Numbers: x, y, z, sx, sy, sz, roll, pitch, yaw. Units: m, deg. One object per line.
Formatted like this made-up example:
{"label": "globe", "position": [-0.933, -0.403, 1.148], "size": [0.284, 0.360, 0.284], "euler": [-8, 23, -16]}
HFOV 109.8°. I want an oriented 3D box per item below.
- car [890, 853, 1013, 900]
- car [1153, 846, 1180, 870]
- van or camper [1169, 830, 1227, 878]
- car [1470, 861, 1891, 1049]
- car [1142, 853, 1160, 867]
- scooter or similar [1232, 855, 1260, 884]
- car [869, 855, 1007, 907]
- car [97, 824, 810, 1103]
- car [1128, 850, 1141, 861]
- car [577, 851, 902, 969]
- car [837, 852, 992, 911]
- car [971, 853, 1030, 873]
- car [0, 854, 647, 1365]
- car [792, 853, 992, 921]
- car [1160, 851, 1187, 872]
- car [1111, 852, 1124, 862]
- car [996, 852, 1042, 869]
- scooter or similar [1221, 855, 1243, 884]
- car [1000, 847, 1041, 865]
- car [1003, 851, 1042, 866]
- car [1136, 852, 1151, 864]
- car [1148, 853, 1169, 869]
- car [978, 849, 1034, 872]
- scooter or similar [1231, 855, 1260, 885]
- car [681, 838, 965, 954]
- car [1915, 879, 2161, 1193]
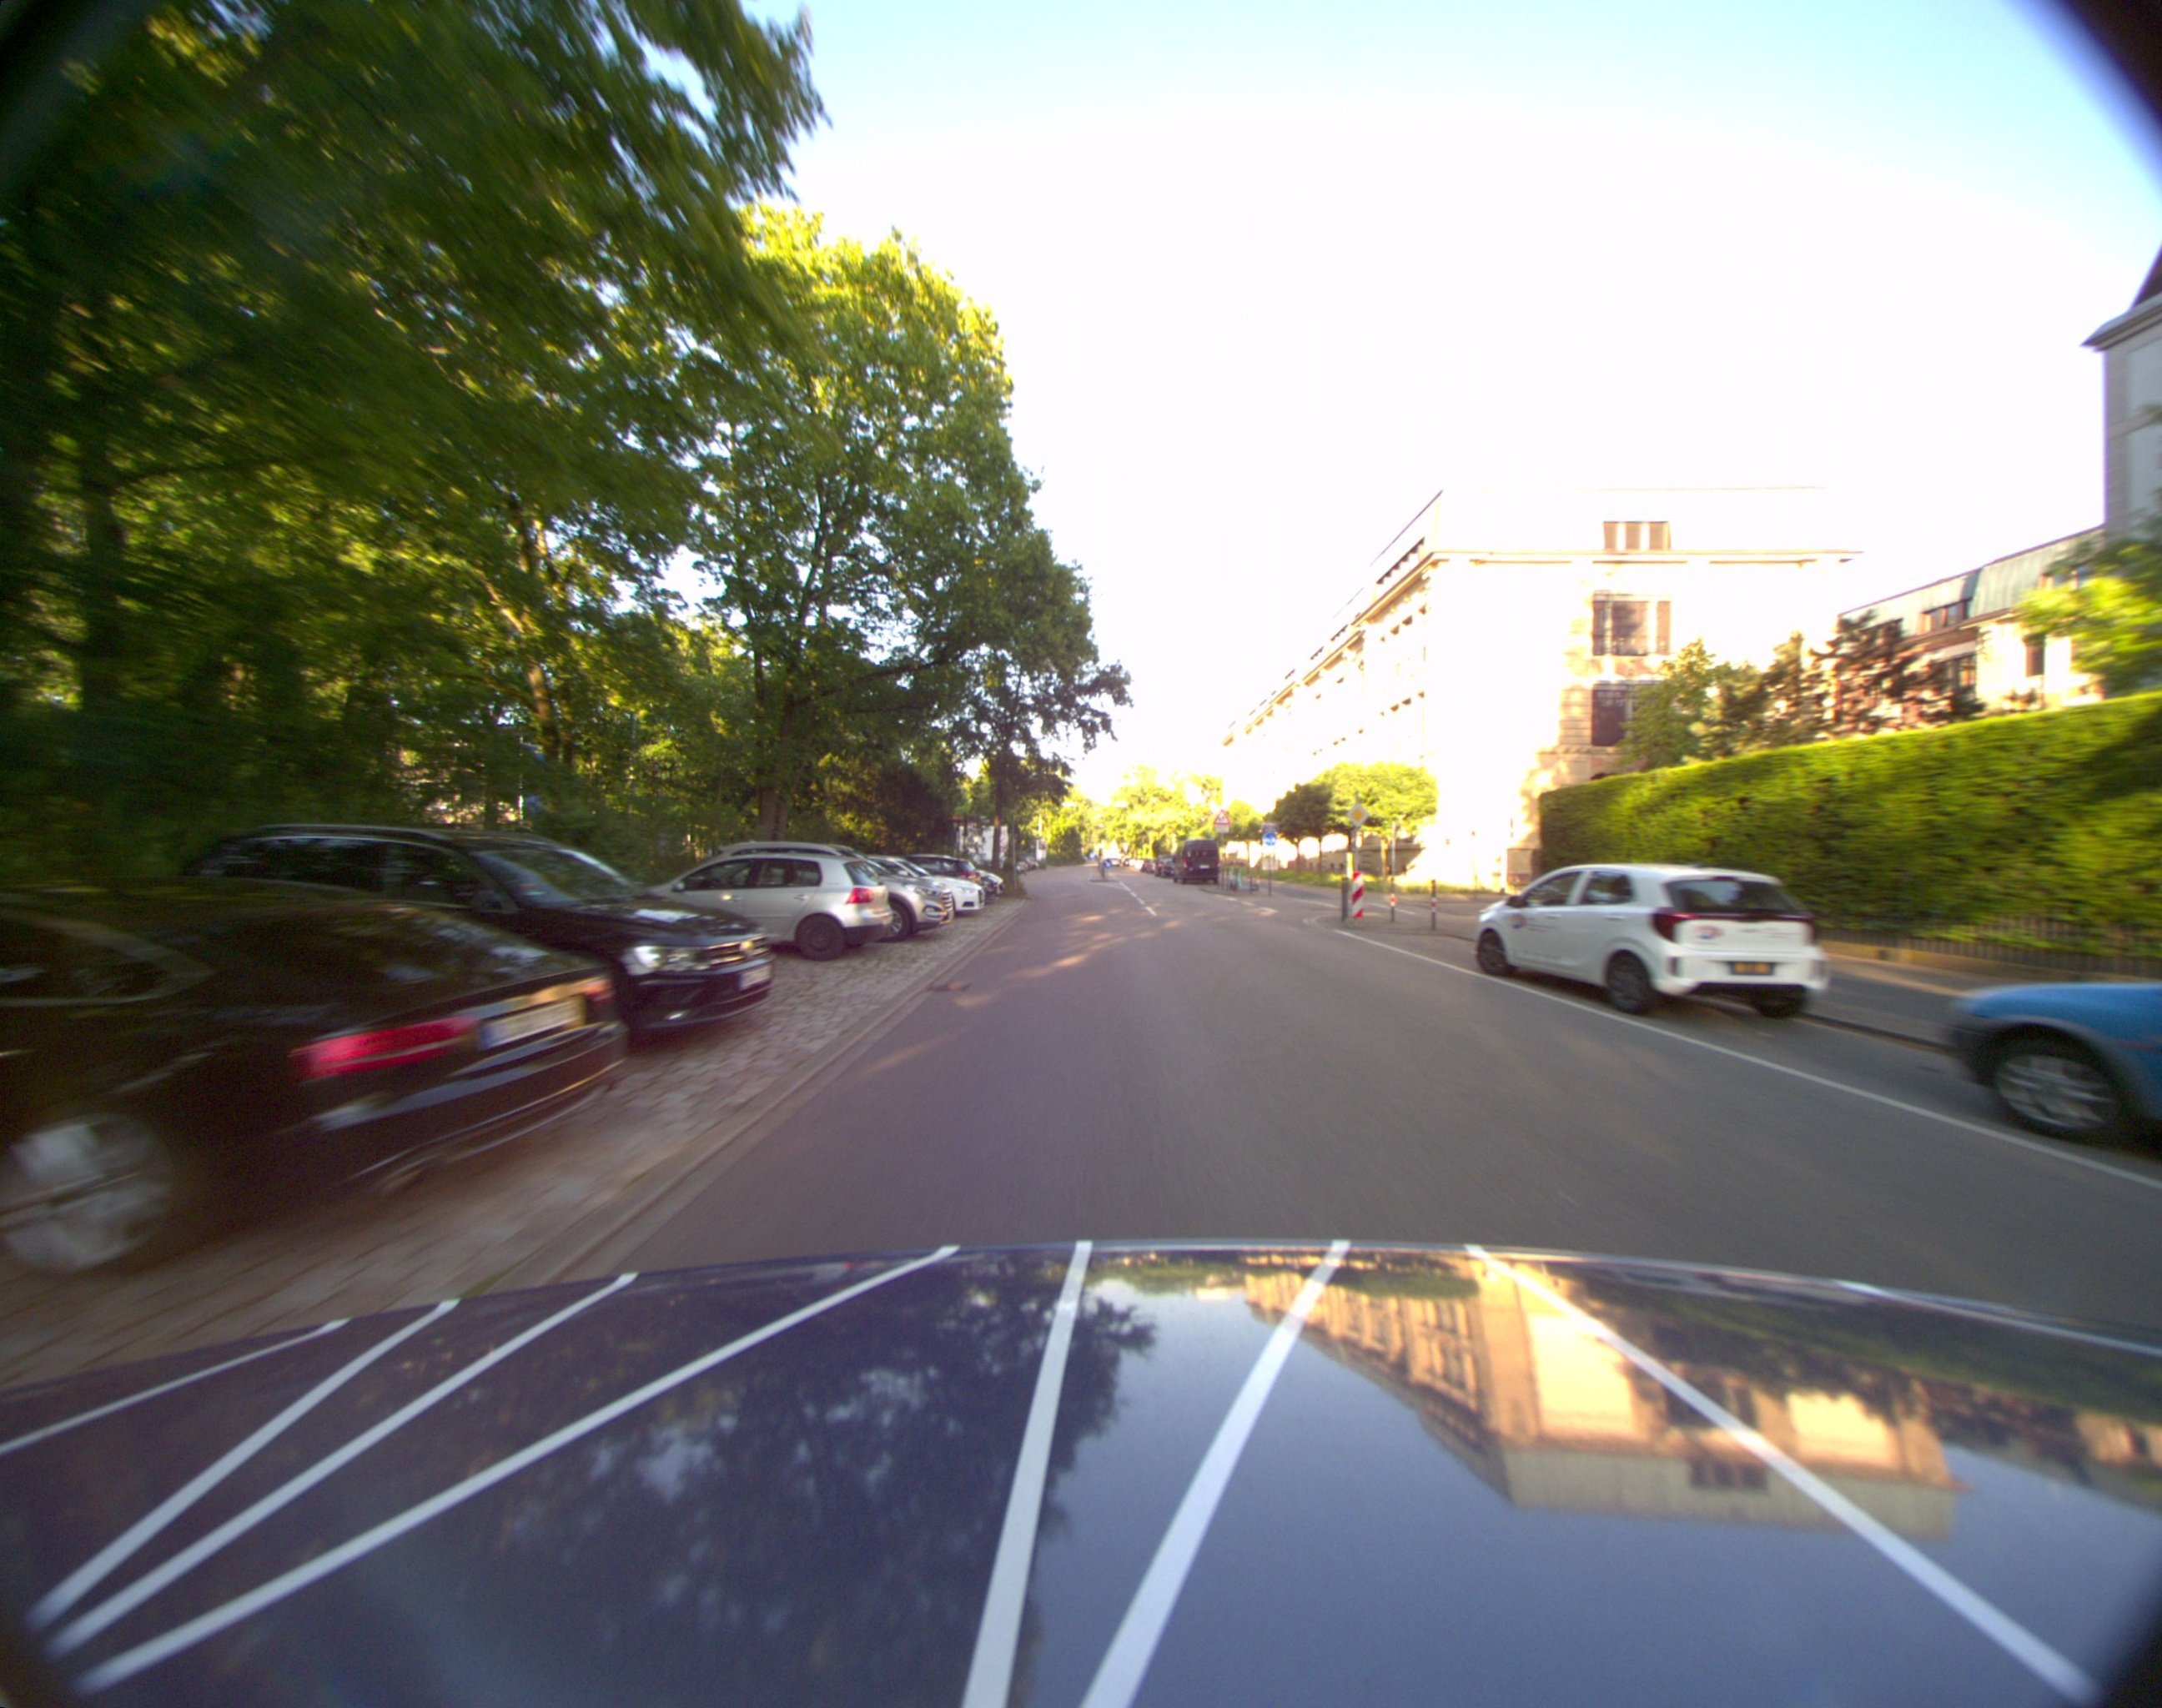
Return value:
{"label": "car", "position": [-4.480, 0.764, 26.623], "size": [3.997, 1.545, 1.725], "euler": [1, 1, 1]}
{"label": "car", "position": [7.115, 0.327, 63.404], "size": [1.782, 1.855, 4.332], "euler": [-2, 0, 1]}
{"label": "van or camper", "position": [6.668, -0.049, 44.133], "size": [2.235, 2.530, 7.079], "euler": [-1, 1, 0]}
{"label": "car", "position": [6.119, 0.892, 8.404], "size": [1.618, 1.506, 3.711], "euler": [2, 1, -1]}
{"label": "car", "position": [7.461, 0.630, 81.021], "size": [1.622, 1.487, 4.377], "euler": [0, 0, 1]}
{"label": "scooter or similar", "position": [7.297, 0.678, 33.605], "size": [1.346, 1.267, 0.431], "euler": [-1, 1, -34]}
{"label": "car", "position": [-4.459, 0.835, 24.038], "size": [3.997, 1.545, 1.726], "euler": [1, -1, 1]}
{"label": "car", "position": [-4.711, 0.751, 6.218], "size": [4.255, 1.779, 1.883], "euler": [2, 1, 1]}
{"label": "car", "position": [7.993, 0.234, 114.418], "size": [1.806, 1.502, 4.862], "euler": [-1, 1, 2]}
{"label": "car", "position": [-4.857, 0.762, 11.200], "size": [3.997, 1.545, 1.725], "euler": [1, 1, 1]}
{"label": "car", "position": [-4.644, 0.763, 21.602], "size": [3.997, 1.545, 1.752], "euler": [1, -1, 1]}
{"label": "car", "position": [-7.126, 0.787, 67.358], "size": [4.939, 1.545, 1.916], "euler": [2, 1, 0]}
{"label": "car", "position": [-4.442, 0.838, 3.383], "size": [3.997, 1.545, 1.725], "euler": [2, 1, 1]}
{"label": "car", "position": [-4.595, 0.786, 18.972], "size": [4.495, 1.545, 1.857], "euler": [1, 1, 1]}
{"label": "car", "position": [6.943, 0.548, 57.488], "size": [1.700, 1.462, 3.855], "euler": [-2, 0, 3]}
{"label": "car", "position": [5.537, 0.497, 115.922], "size": [1.745, 1.450, 4.623], "euler": [1, 1, 0]}
{"label": "car", "position": [-6.266, 0.697, 77.144], "size": [4.374, 1.528, 1.920], "euler": [2, 1, 0]}
{"label": "scooter or similar", "position": [6.740, 0.674, 33.981], "size": [0.430, 1.267, 1.347], "euler": [1, 1, 36]}
{"label": "car", "position": [-6.745, 0.238, 85.168], "size": [4.374, 1.770, 1.920], "euler": [2, 1, 0]}
{"label": "car", "position": [-6.753, 0.499, 87.905], "size": [4.374, 1.545, 1.727], "euler": [2, 1, 0]}
{"label": "car", "position": [7.698, 0.507, 93.801], "size": [1.622, 1.487, 3.924], "euler": [0, 0, 1]}
{"label": "car", "position": [7.493, 0.626, 74.056], "size": [1.723, 1.487, 4.377], "euler": [0, 0, 2]}
{"label": "car", "position": [-6.889, 0.587, 70.036], "size": [4.864, 1.905, 1.915], "euler": [2, 1, 0]}
{"label": "scooter or similar", "position": [7.124, 0.667, 32.919], "size": [1.346, 1.267, 0.431], "euler": [-1, 1, -34]}
{"label": "car", "position": [-4.399, 0.681, 13.508], "size": [4.318, 1.794, 2.035], "euler": [2, 1, 0]}
{"label": "car", "position": [6.046, 0.923, 2.886], "size": [1.618, 1.477, 3.741], "euler": [1, 1, 0]}
